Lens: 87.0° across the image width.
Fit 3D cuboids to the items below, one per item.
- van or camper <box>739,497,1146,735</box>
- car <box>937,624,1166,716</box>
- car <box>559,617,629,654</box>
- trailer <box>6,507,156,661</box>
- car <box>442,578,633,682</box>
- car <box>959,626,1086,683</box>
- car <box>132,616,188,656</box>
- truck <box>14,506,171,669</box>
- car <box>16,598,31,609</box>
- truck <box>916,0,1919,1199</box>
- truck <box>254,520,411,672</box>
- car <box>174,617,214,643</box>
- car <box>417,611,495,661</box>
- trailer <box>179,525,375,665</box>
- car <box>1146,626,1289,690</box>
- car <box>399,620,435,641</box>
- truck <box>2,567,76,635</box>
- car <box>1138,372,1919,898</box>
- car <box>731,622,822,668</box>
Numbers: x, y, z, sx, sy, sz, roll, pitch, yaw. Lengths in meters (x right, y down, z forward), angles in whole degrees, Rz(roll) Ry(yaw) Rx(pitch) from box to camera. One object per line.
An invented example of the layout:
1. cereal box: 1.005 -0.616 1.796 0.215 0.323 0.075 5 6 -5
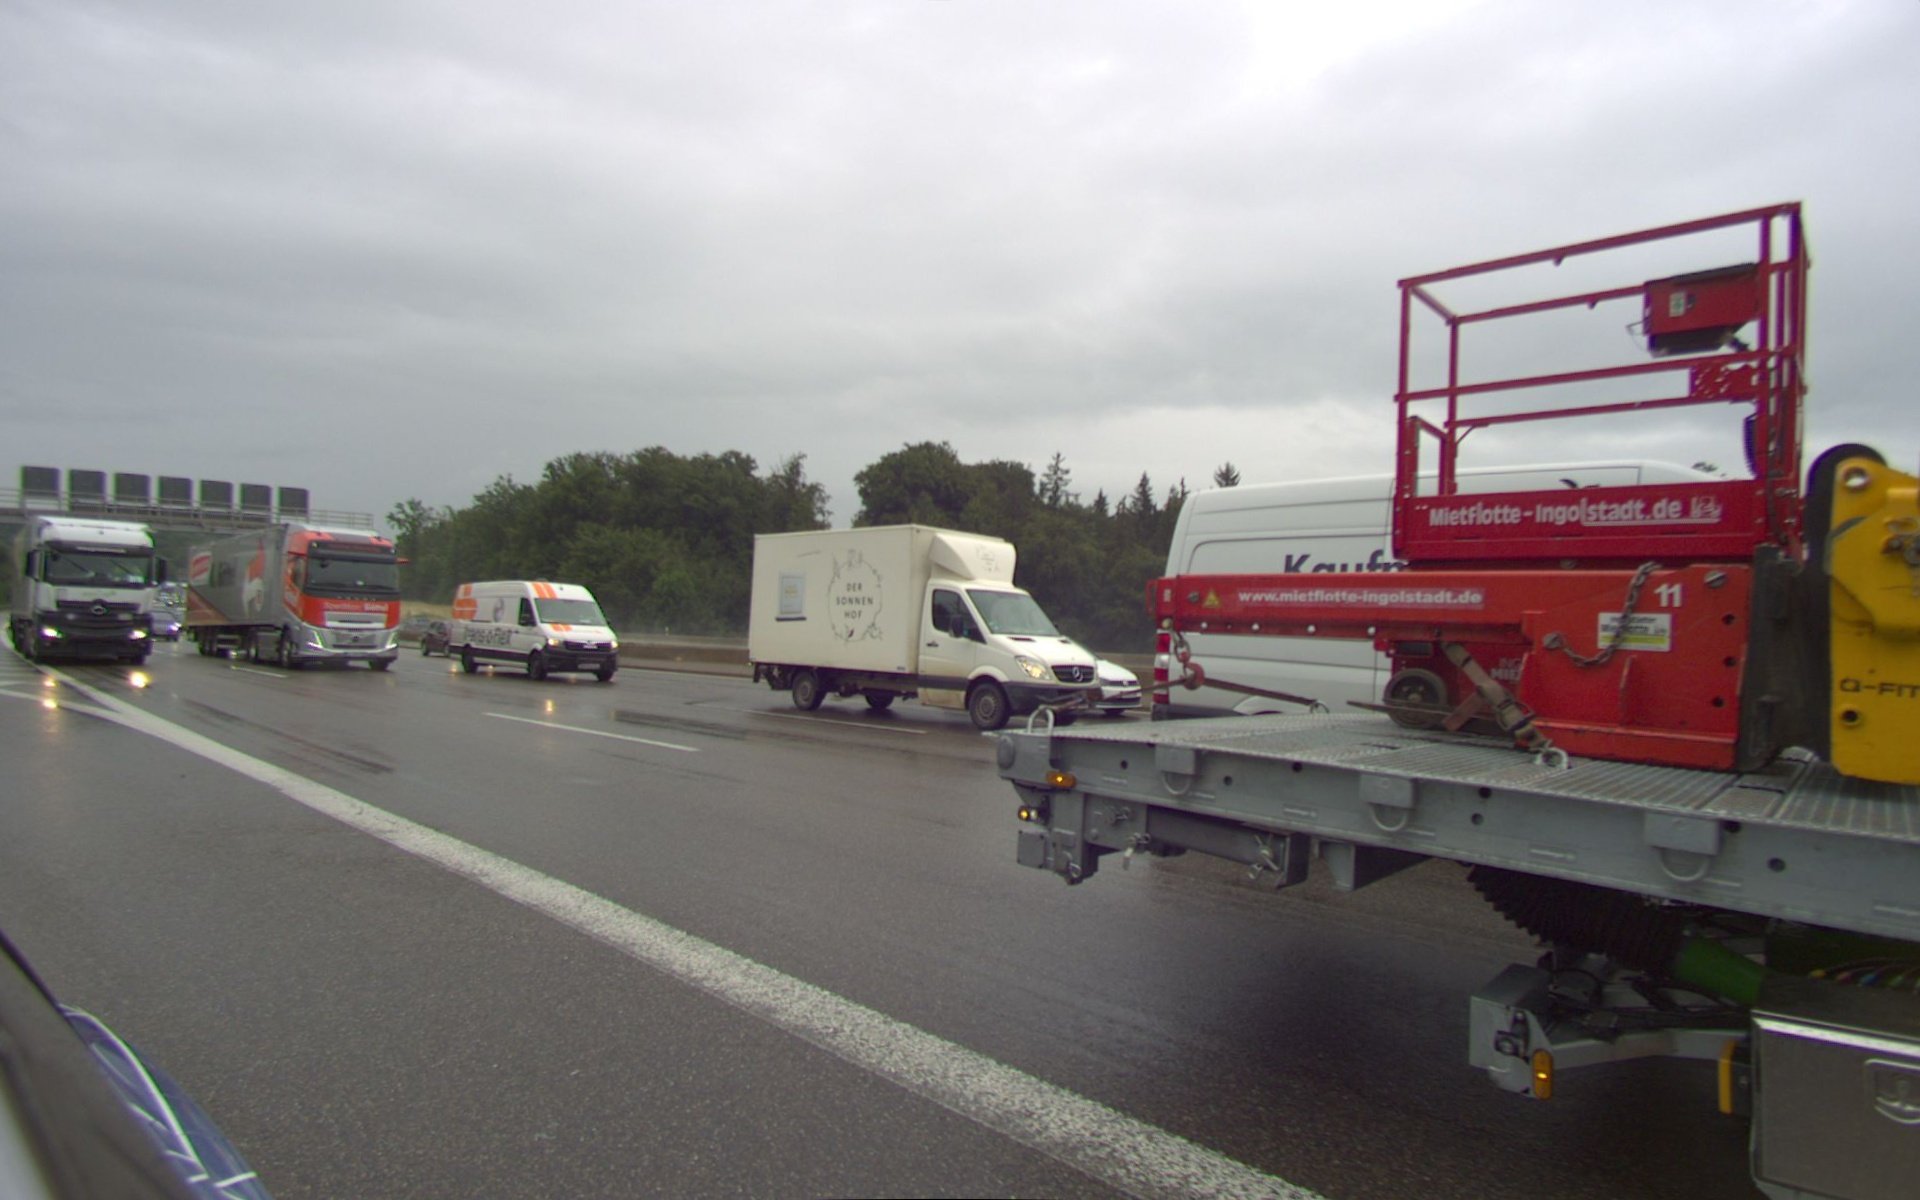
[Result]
1. van or camper: -0.597 0.260 17.122 7.133 3.228 2.550 0 -2 44
2. car: 1.665 1.274 19.634 1.597 1.534 4.417 3 -2 -45
3. car: -21.508 2.028 59.386 4.739 2.029 1.971 0 -1 44
4. trailer: -29.476 -0.419 33.620 2.884 4.237 13.646 3 -2 -44
5. car: -11.682 0.758 27.563 2.123 2.507 7.369 3 -2 -45
6. car: 2.018 1.747 33.546 4.002 1.690 1.821 0 -1 45
7. car: -40.979 1.816 51.816 4.002 1.785 1.738 1 2 44
8. truck: -25.044 -0.284 29.093 2.884 4.130 6.724 3 -2 -44
9. car: -162.364 0.621 175.401 1.792 1.770 4.690 2 -1 -43
10. truck: 5.117 -0.440 0.617 11.799 3.616 2.800 -1 -3 43
11. truck: -17.656 -0.037 28.413 4.590 3.893 2.597 0 -2 44
12. car: -51.247 1.964 67.672 1.968 1.683 4.189 0 -1 -40
13. car: -20.887 1.431 41.882 1.731 1.785 4.003 -2 2 -45
14. trailer: -23.196 -0.050 33.820 13.680 3.893 2.597 0 -2 44
15. car: 8.120 1.770 32.088 4.002 1.860 1.933 -1 -2 44
16. car: -49.003 2.710 91.303 1.969 1.829 4.111 1 -1 -41
17. truck: -61.268 -0.087 67.265 3.307 4.101 12.586 -2 2 -43
18. car: 4.331 0.207 7.126 5.846 2.649 2.190 0 -2 45
19. car: -8.263 1.973 45.469 4.203 1.911 1.971 -1 -1 45
